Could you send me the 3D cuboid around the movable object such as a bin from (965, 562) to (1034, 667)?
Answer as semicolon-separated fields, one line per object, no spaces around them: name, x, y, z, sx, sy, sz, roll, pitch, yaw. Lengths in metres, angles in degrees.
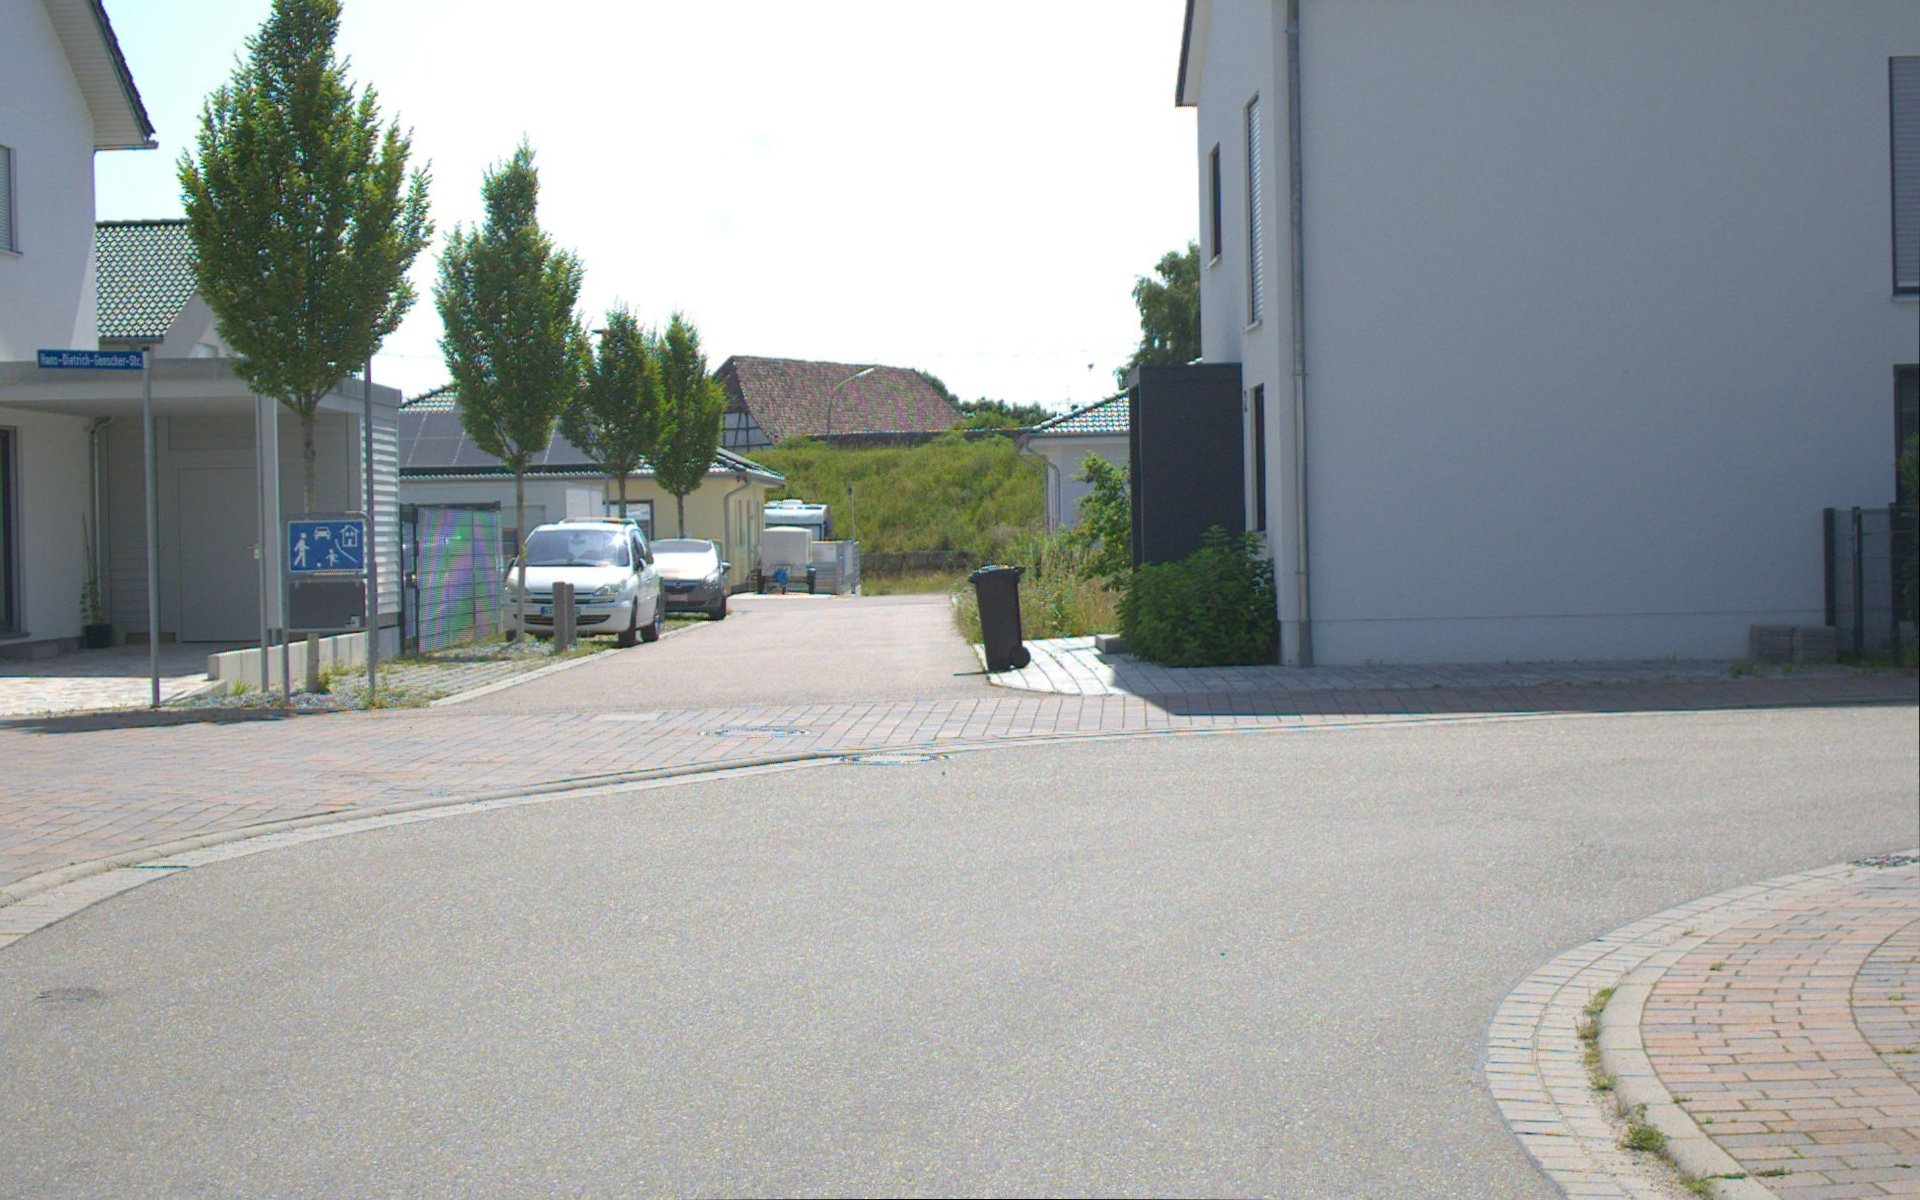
movable object such as a bin;0.369;0.131;32.129;0.600;0.945;0.501;-2;1;0

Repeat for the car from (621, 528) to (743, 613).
car;-5.508;-0.598;68.485;1.993;1.608;4.484;1;1;1

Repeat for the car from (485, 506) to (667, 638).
car;-5.413;-0.408;48.995;1.993;1.783;4.647;1;1;1

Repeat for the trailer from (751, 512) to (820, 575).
trailer;-4.539;-1.476;89.765;1.627;1.608;2.561;1;1;1

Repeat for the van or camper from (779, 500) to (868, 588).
van or camper;-3.827;-1.584;97.129;2.263;2.402;4.845;1;1;1
